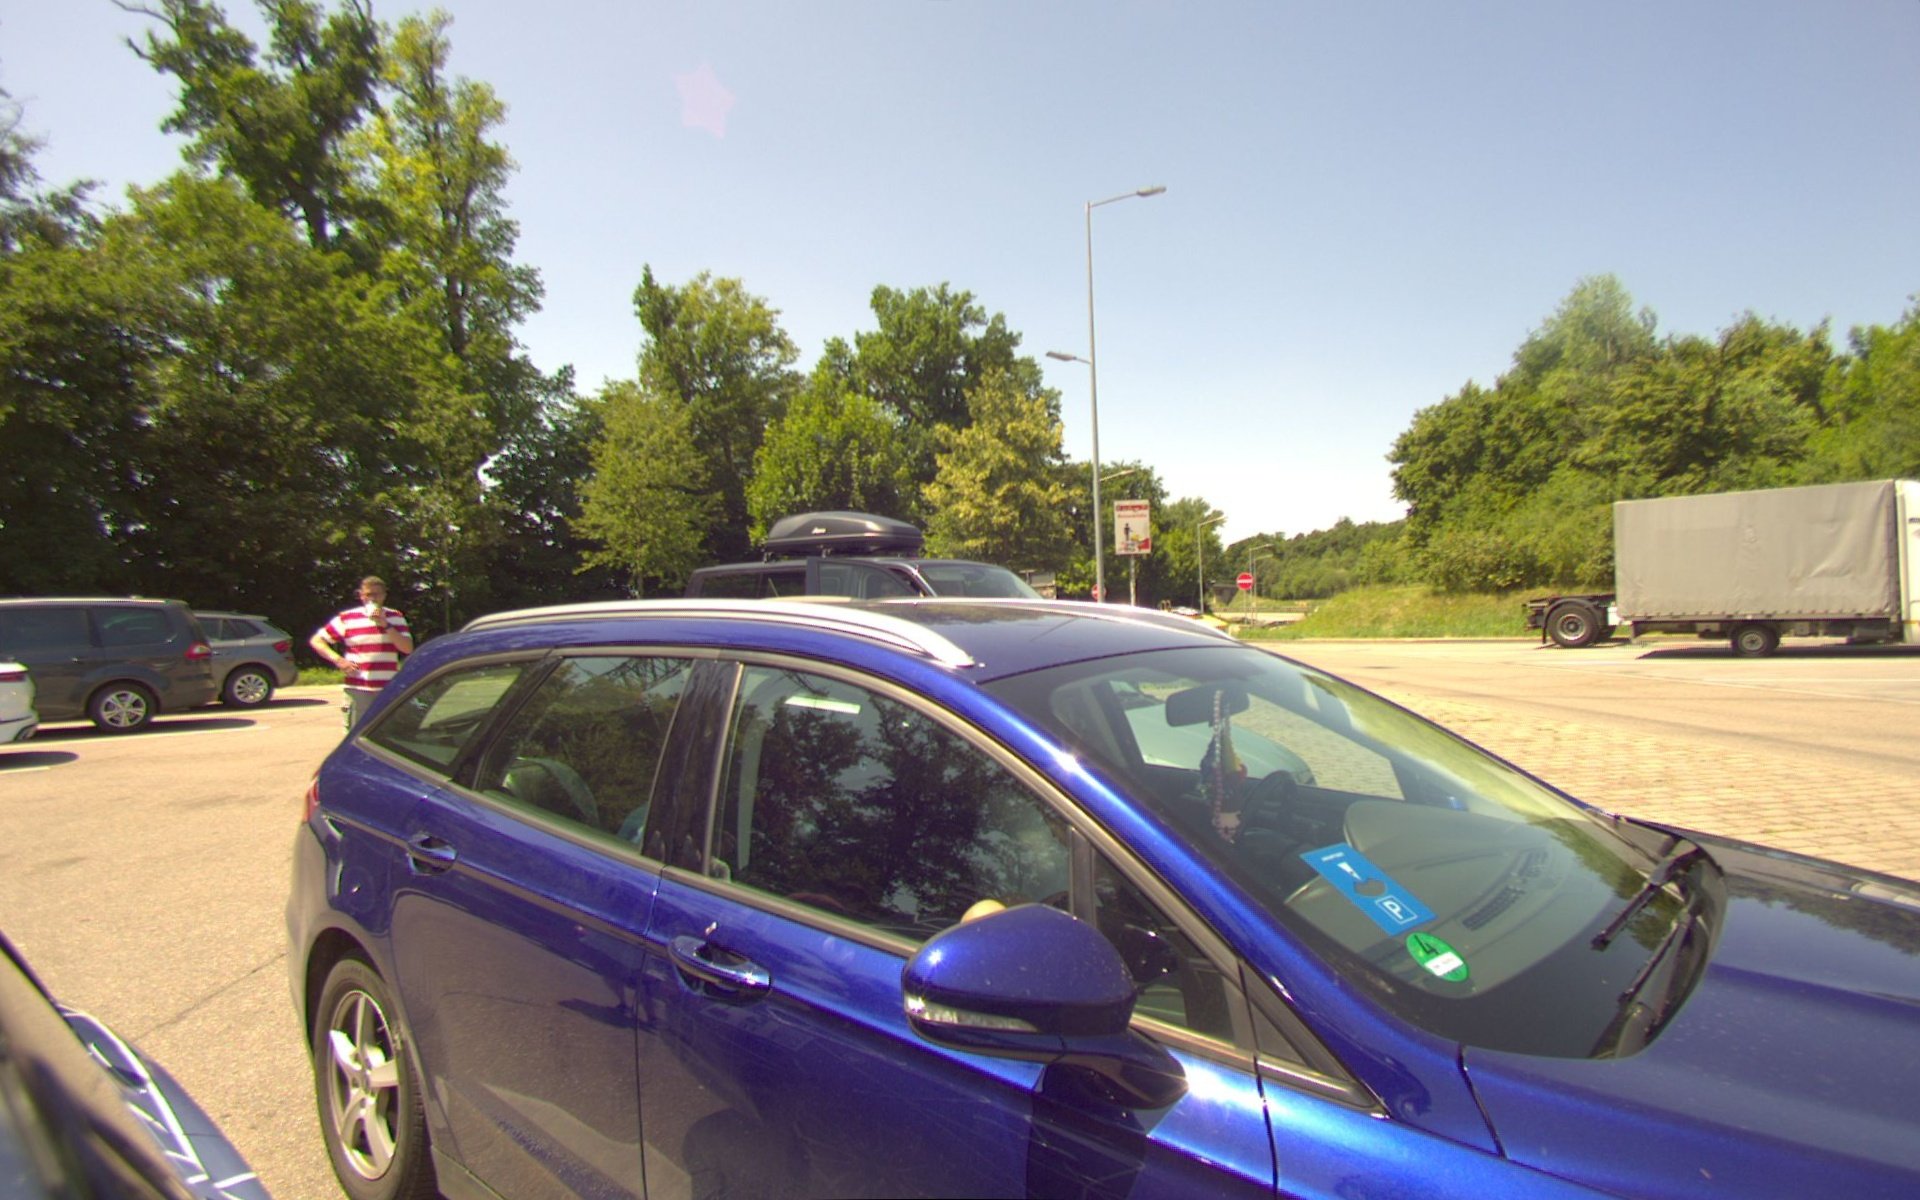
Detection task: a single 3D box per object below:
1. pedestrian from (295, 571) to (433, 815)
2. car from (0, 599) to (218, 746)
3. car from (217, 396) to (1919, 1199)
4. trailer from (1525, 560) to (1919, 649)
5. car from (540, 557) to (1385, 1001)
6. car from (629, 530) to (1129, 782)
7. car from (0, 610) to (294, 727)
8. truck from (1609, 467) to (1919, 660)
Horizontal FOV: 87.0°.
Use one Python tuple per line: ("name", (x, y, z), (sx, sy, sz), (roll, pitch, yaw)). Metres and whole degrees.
("pedestrian", (-4.639, 0.671, 7.870), (0.744, 1.767, 0.785), (-1, 0, -45))
("car", (-11.625, 0.870, 12.638), (3.767, 1.708, 1.654), (-1, 0, -38))
("car", (0.241, 0.637, 2.056), (4.569, 1.482, 1.735), (-3, 0, 40))
("trailer", (17.711, 0.153, 23.093), (8.098, 1.638, 2.187), (-4, -1, 41))
("car", (-0.315, 0.672, 5.593), (4.569, 1.517, 1.735), (-3, 0, 40))
("car", (-0.886, 0.500, 9.641), (4.558, 1.912, 1.740), (-3, 0, 32))
("car", (-12.617, 0.974, 15.645), (3.767, 1.572, 1.654), (-1, 0, -38))
("truck", (16.787, -0.651, 18.995), (7.274, 3.269, 2.678), (-4, -1, 42))
